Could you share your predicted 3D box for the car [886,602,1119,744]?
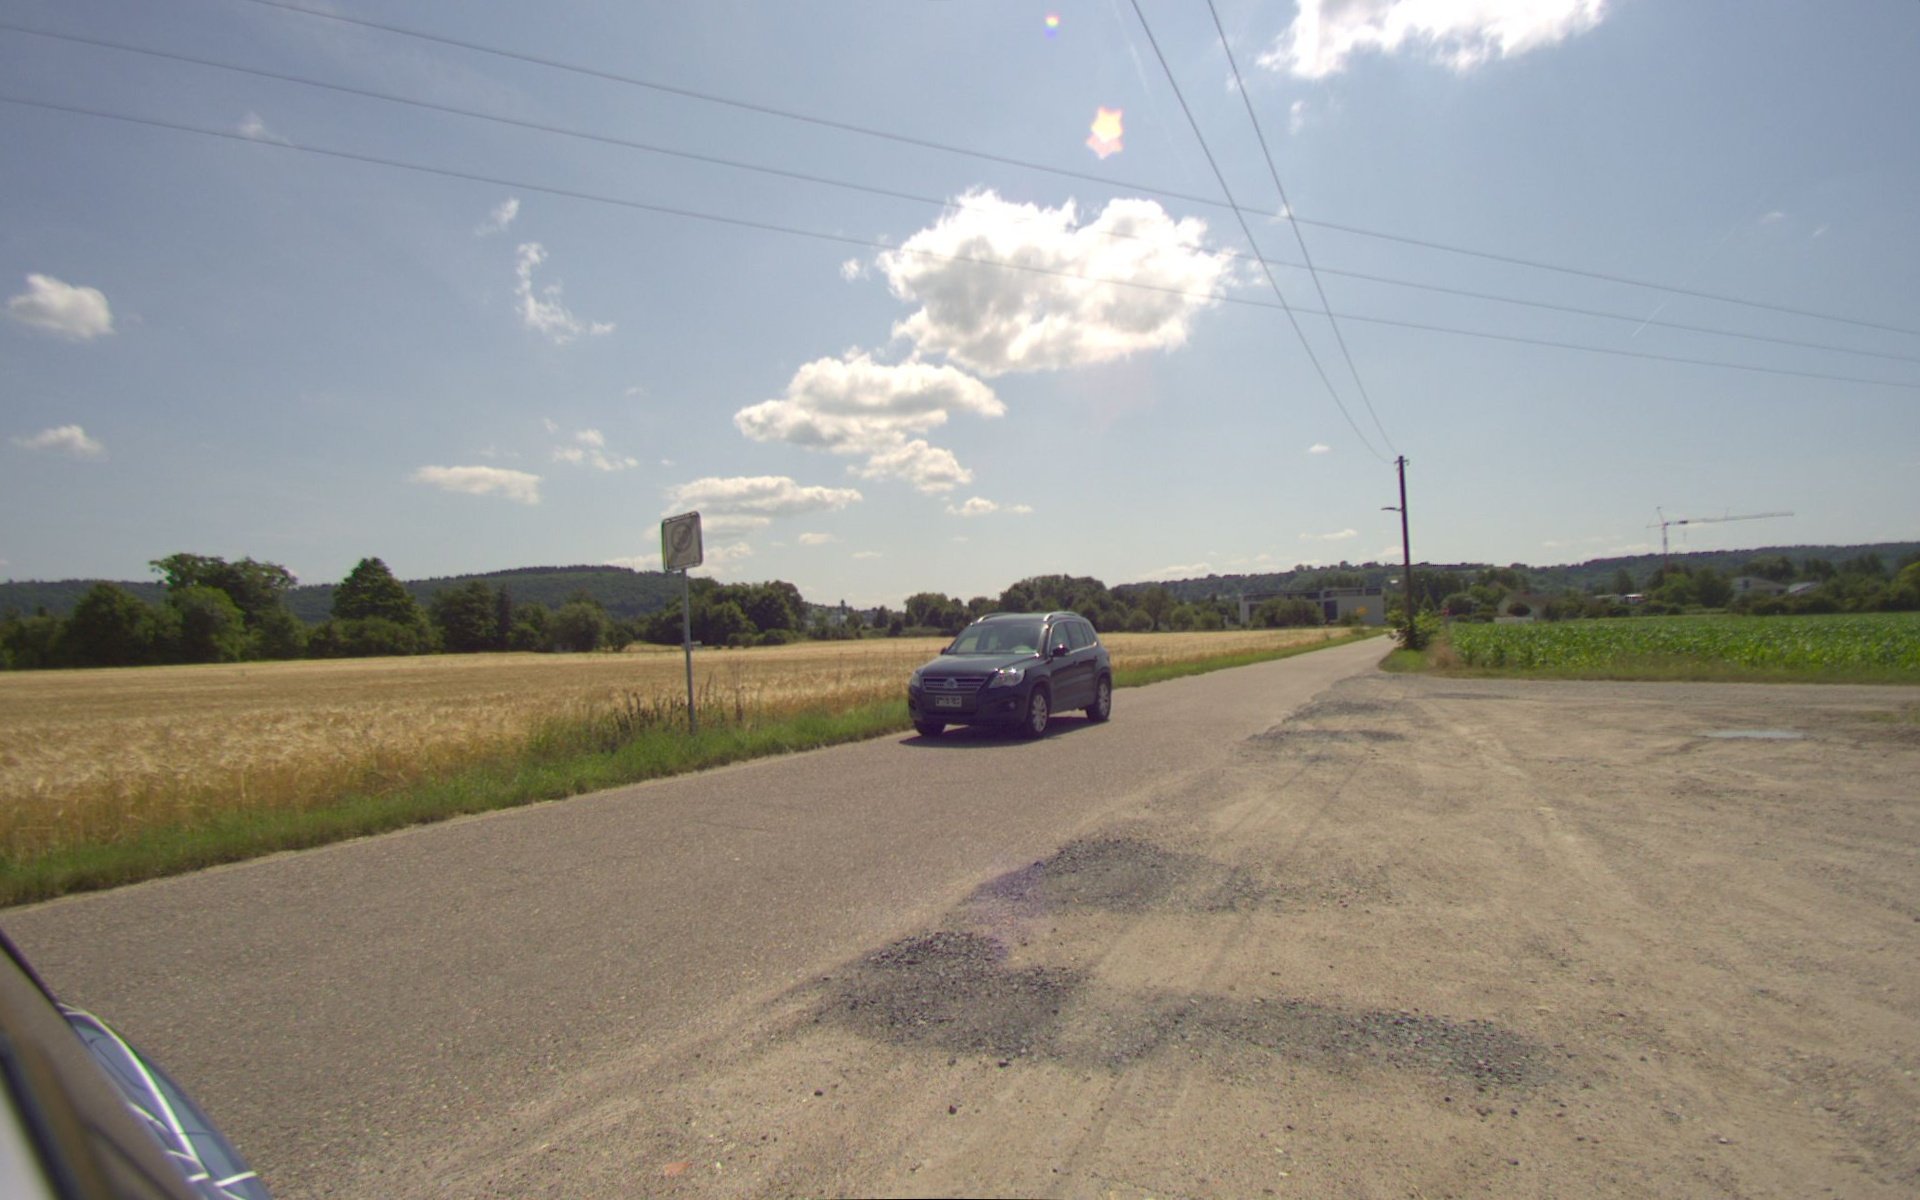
[{"bbox_3d":[0.770,0.934,14.398,1.740,1.692,4.216,-2,-2,26],"label":"car"}]
